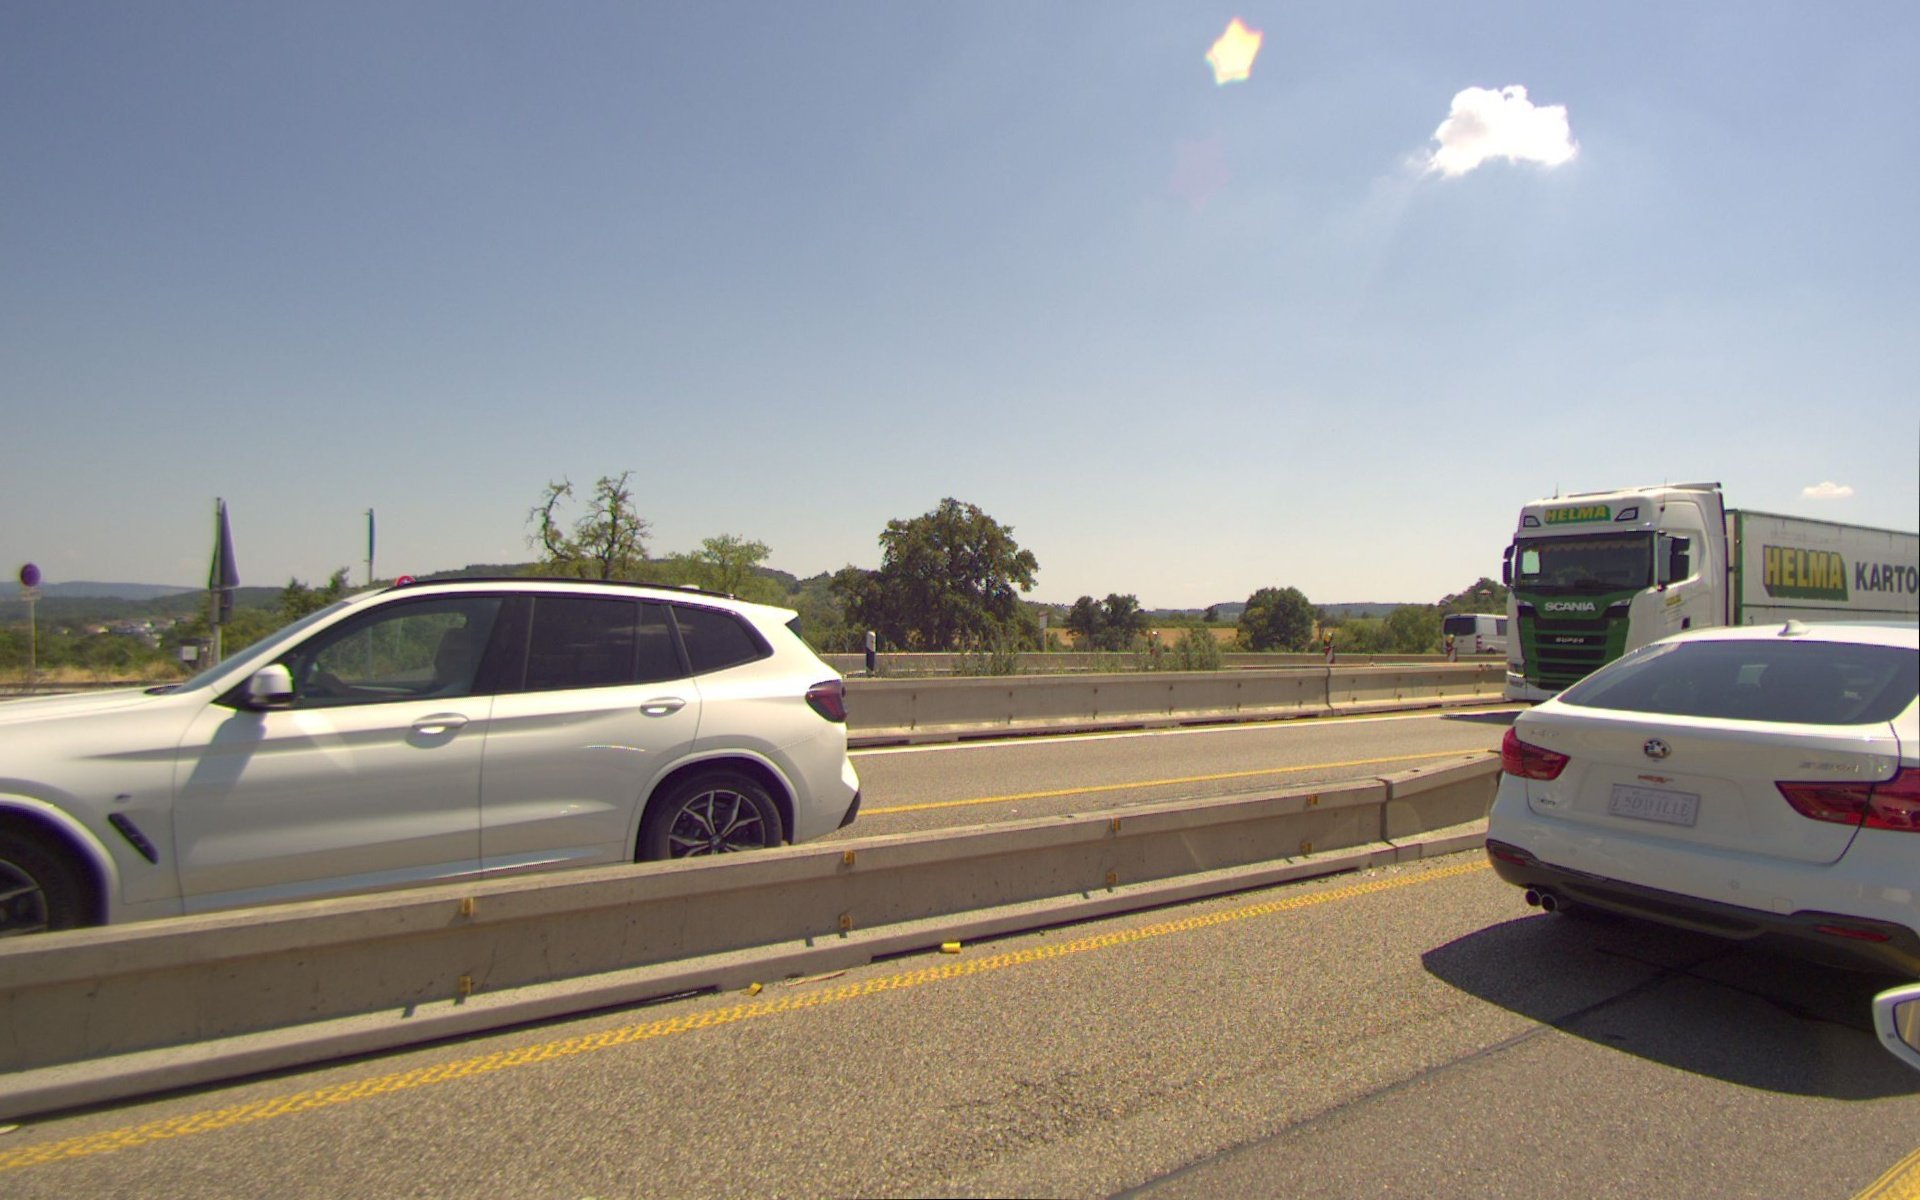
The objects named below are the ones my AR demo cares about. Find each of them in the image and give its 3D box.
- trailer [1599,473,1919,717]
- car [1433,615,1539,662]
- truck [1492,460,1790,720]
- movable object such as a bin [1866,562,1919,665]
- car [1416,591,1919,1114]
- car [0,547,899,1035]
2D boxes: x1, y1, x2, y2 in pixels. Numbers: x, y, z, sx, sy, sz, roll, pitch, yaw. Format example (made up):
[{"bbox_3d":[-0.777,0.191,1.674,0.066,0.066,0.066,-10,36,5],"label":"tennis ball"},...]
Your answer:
[{"bbox_3d":[18.308,0.060,21.337,12.346,4.207,2.343,2,0,-29],"label":"trailer"},{"bbox_3d":[24.615,1.789,46.985,5.056,2.043,2.192,2,0,-33],"label":"car"},{"bbox_3d":[12.243,-0.098,18.004,5.018,4.061,2.436,2,0,-30],"label":"truck"},{"bbox_3d":[45.447,0.702,44.224,9.152,4.387,2.930,2,0,-7],"label":"movable object such as a bin"},{"bbox_3d":[4.658,0.840,4.960,5.012,1.555,1.787,2,-2,-29],"label":"car"},{"bbox_3d":[-2.751,0.718,5.250,4.443,1.762,1.983,2,0,-32],"label":"car"}]
